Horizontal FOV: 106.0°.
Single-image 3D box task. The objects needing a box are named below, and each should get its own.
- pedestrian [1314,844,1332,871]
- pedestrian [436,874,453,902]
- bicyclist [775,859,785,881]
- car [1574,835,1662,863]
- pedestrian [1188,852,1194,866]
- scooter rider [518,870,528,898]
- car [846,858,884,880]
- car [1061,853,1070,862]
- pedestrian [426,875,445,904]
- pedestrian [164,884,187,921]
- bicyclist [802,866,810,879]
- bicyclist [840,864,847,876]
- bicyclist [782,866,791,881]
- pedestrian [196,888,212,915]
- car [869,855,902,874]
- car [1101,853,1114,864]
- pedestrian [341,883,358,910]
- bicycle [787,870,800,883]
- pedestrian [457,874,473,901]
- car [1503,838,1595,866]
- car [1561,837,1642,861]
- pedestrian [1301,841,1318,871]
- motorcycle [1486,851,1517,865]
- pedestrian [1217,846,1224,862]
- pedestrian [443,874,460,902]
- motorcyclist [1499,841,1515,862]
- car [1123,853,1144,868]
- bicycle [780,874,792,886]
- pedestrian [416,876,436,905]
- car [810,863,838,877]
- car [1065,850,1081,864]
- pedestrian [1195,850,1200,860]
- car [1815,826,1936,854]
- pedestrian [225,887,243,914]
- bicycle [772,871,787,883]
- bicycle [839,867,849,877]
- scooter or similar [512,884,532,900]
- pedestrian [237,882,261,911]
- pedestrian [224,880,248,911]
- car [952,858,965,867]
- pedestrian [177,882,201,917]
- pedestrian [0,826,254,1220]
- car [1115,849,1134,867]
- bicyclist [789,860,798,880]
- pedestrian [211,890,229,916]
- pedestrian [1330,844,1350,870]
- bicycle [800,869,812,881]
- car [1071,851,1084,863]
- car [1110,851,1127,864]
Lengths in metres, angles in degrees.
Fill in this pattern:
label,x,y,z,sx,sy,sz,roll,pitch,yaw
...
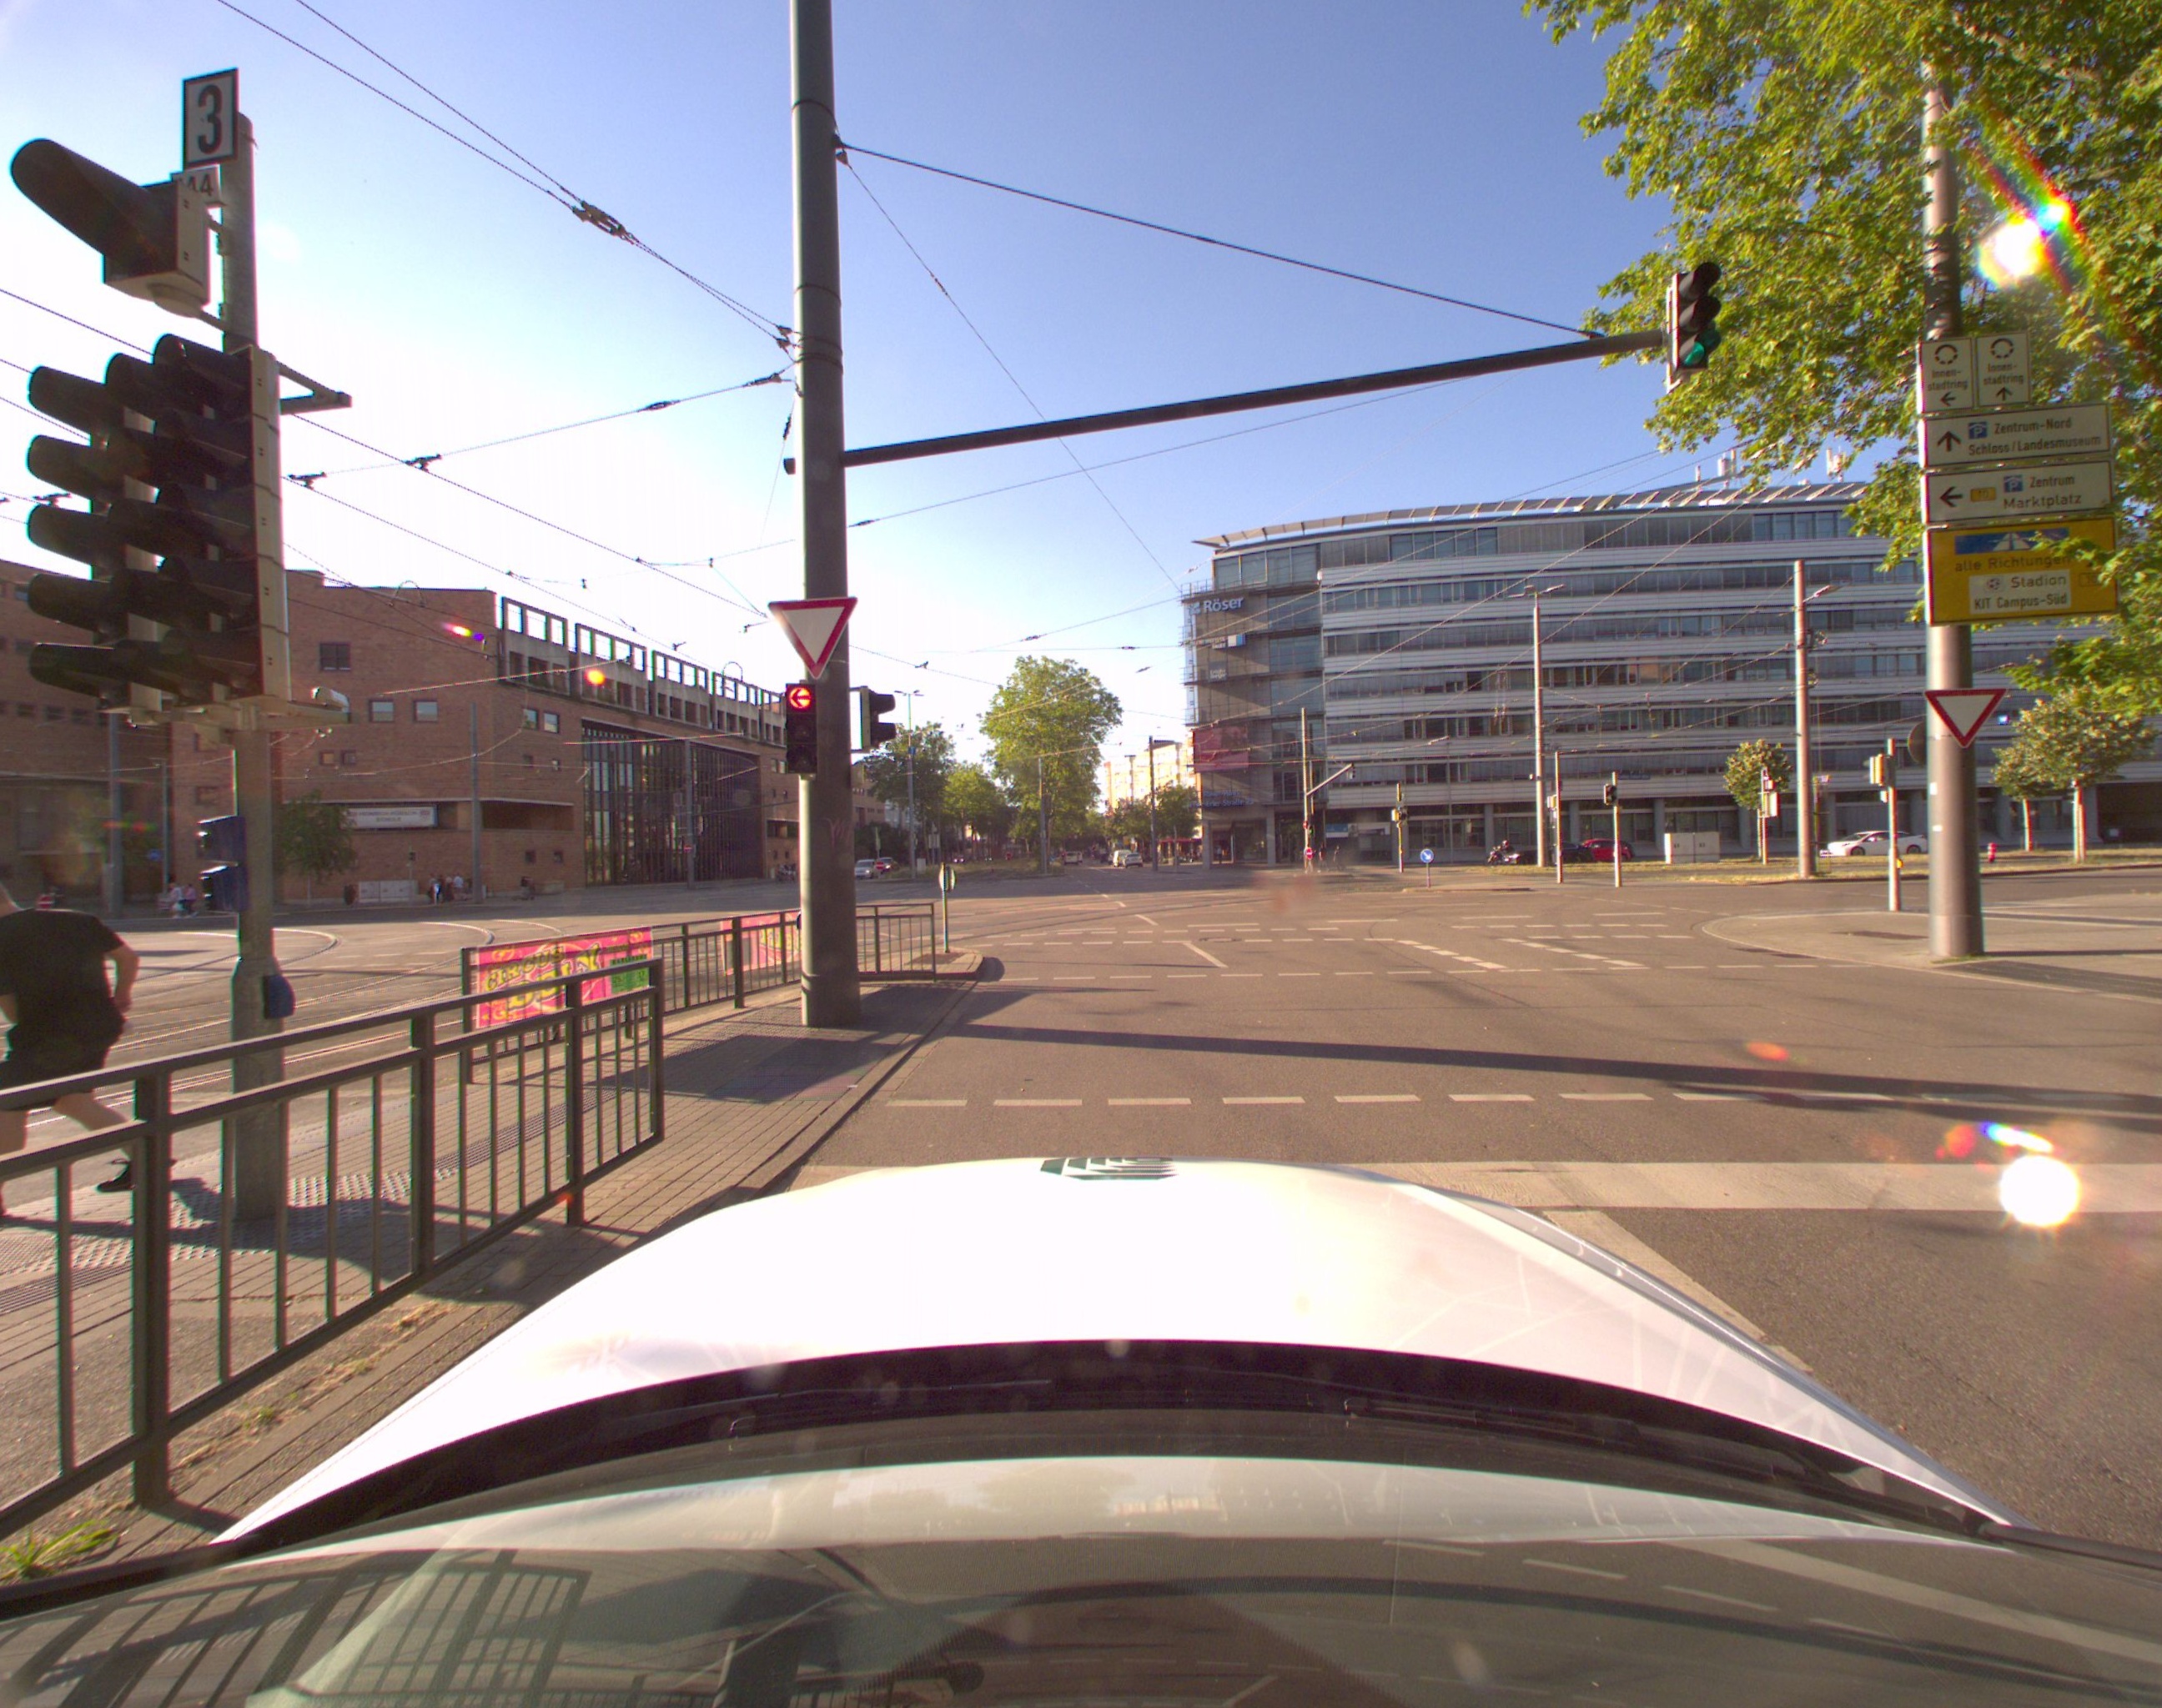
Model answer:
label,x,y,z,sx,sy,sz,roll,pitch,yaw
pedestrian,15.161,0.206,51.034,0.908,1.685,1.037,-2,0,6
pedestrian,-39.051,2.101,49.998,0.547,1.683,0.573,-2,0,-5
bicyclist,-24.369,1.321,65.938,0.534,1.731,0.581,-2,0,1
car,31.910,-0.282,48.457,3.966,1.393,1.789,-4,0,7
pedestrian,14.181,0.608,104.896,0.741,1.714,0.612,-2,0,1
scooter rider,-33.726,1.810,49.212,0.441,1.647,0.226,-2,0,-44
car,-18.006,1.220,67.962,1.987,1.640,4.001,-2,0,1
car,-3.768,0.752,195.470,1.986,2.013,4.001,-2,0,1
pedestrian,-38.384,2.113,48.420,0.546,1.683,0.593,-2,0,6
pedestrian,-40.973,2.178,36.834,0.593,1.648,0.552,-2,0,30
bicyclist,-24.363,1.652,72.199,0.503,1.179,0.581,-2,0,1
bicyclist,-24.332,1.670,83.530,0.503,1.210,0.581,-2,0,1
bicyclist,-25.075,1.651,69.320,0.503,1.304,0.581,-2,0,1
pedestrian,-47.950,2.595,44.522,0.583,1.463,0.537,-2,0,38
car,-18.116,0.964,75.537,1.987,1.640,4.001,-2,0,1
car,4.095,0.655,126.786,1.986,1.618,4.002,-2,0,2
pedestrian,-42.712,2.477,47.551,0.490,1.506,0.547,-2,0,-15
bicycle,-23.419,1.805,66.348,0.471,0.963,1.576,-2,0,2
pedestrian,-38.215,2.069,50.521,0.572,1.683,0.546,-2,0,-7
car,26.460,-0.100,46.194,4.136,1.398,1.789,-2,0,7
car,34.266,-0.316,53.681,4.136,1.398,1.789,-2,0,7
pedestrian,14.056,0.128,50.118,0.859,1.788,0.873,-2,0,8
motorcycle,25.369,0.242,49.143,1.560,0.810,0.468,-2,0,6
pedestrian,12.922,-0.014,75.416,0.608,1.507,0.581,-2,0,13
pedestrian,-39.437,2.117,50.999,0.590,1.683,0.503,-2,0,2
motorcyclist,25.643,-0.145,49.062,0.708,1.275,0.460,-2,0,5
car,5.290,0.620,82.830,1.986,1.376,4.002,-2,0,2
bicycle,-25.080,2.220,69.342,0.466,0.963,1.320,-2,0,2
pedestrian,-39.541,2.184,49.167,0.619,1.683,0.650,-2,0,-5
car,-27.712,1.704,87.933,1.661,1.436,4.001,-2,0,1
car,-1.093,0.428,113.847,1.953,1.848,5.333,-2,0,2
pedestrian,15.695,0.153,109.832,0.575,1.289,0.910,-2,0,2
car,43.425,-0.739,44.597,4.580,1.336,1.789,-2,0,7
pedestrian,-47.046,2.582,45.242,0.549,1.427,0.563,-2,0,31
bicycle,-24.360,1.849,65.849,0.540,0.963,1.587,-2,0,2
bicycle,-24.323,1.876,83.586,0.490,0.963,1.487,-2,0,2
scooter or similar,-33.729,2.282,49.160,0.956,0.899,0.173,-2,0,-45
pedestrian,-39.817,2.053,38.984,0.596,1.339,0.686,-2,0,36
pedestrian,-40.973,2.027,39.493,0.563,1.453,0.618,-2,0,25
car,-25.217,1.725,167.438,1.986,1.816,4.002,-2,0,2
pedestrian,-41.314,2.106,37.720,0.590,1.614,0.593,-2,0,26
pedestrian,-5.003,0.772,4.010,1.096,1.748,0.735,-3,0,-31
car,4.744,0.449,89.648,1.986,1.860,4.002,-2,0,2
bicyclist,-23.410,1.338,66.342,0.456,1.603,0.581,-2,0,1
pedestrian,-47.520,2.693,44.959,0.547,1.409,0.577,-2,0,35
pedestrian,16.097,0.158,50.648,0.943,1.564,0.898,-2,0,6
bicycle,-24.369,1.837,72.171,0.449,0.963,1.348,-2,0,2
car,-0.564,0.519,132.945,1.986,1.912,4.002,-2,0,2
car,4.822,0.476,105.304,1.986,1.618,4.002,-2,0,2
